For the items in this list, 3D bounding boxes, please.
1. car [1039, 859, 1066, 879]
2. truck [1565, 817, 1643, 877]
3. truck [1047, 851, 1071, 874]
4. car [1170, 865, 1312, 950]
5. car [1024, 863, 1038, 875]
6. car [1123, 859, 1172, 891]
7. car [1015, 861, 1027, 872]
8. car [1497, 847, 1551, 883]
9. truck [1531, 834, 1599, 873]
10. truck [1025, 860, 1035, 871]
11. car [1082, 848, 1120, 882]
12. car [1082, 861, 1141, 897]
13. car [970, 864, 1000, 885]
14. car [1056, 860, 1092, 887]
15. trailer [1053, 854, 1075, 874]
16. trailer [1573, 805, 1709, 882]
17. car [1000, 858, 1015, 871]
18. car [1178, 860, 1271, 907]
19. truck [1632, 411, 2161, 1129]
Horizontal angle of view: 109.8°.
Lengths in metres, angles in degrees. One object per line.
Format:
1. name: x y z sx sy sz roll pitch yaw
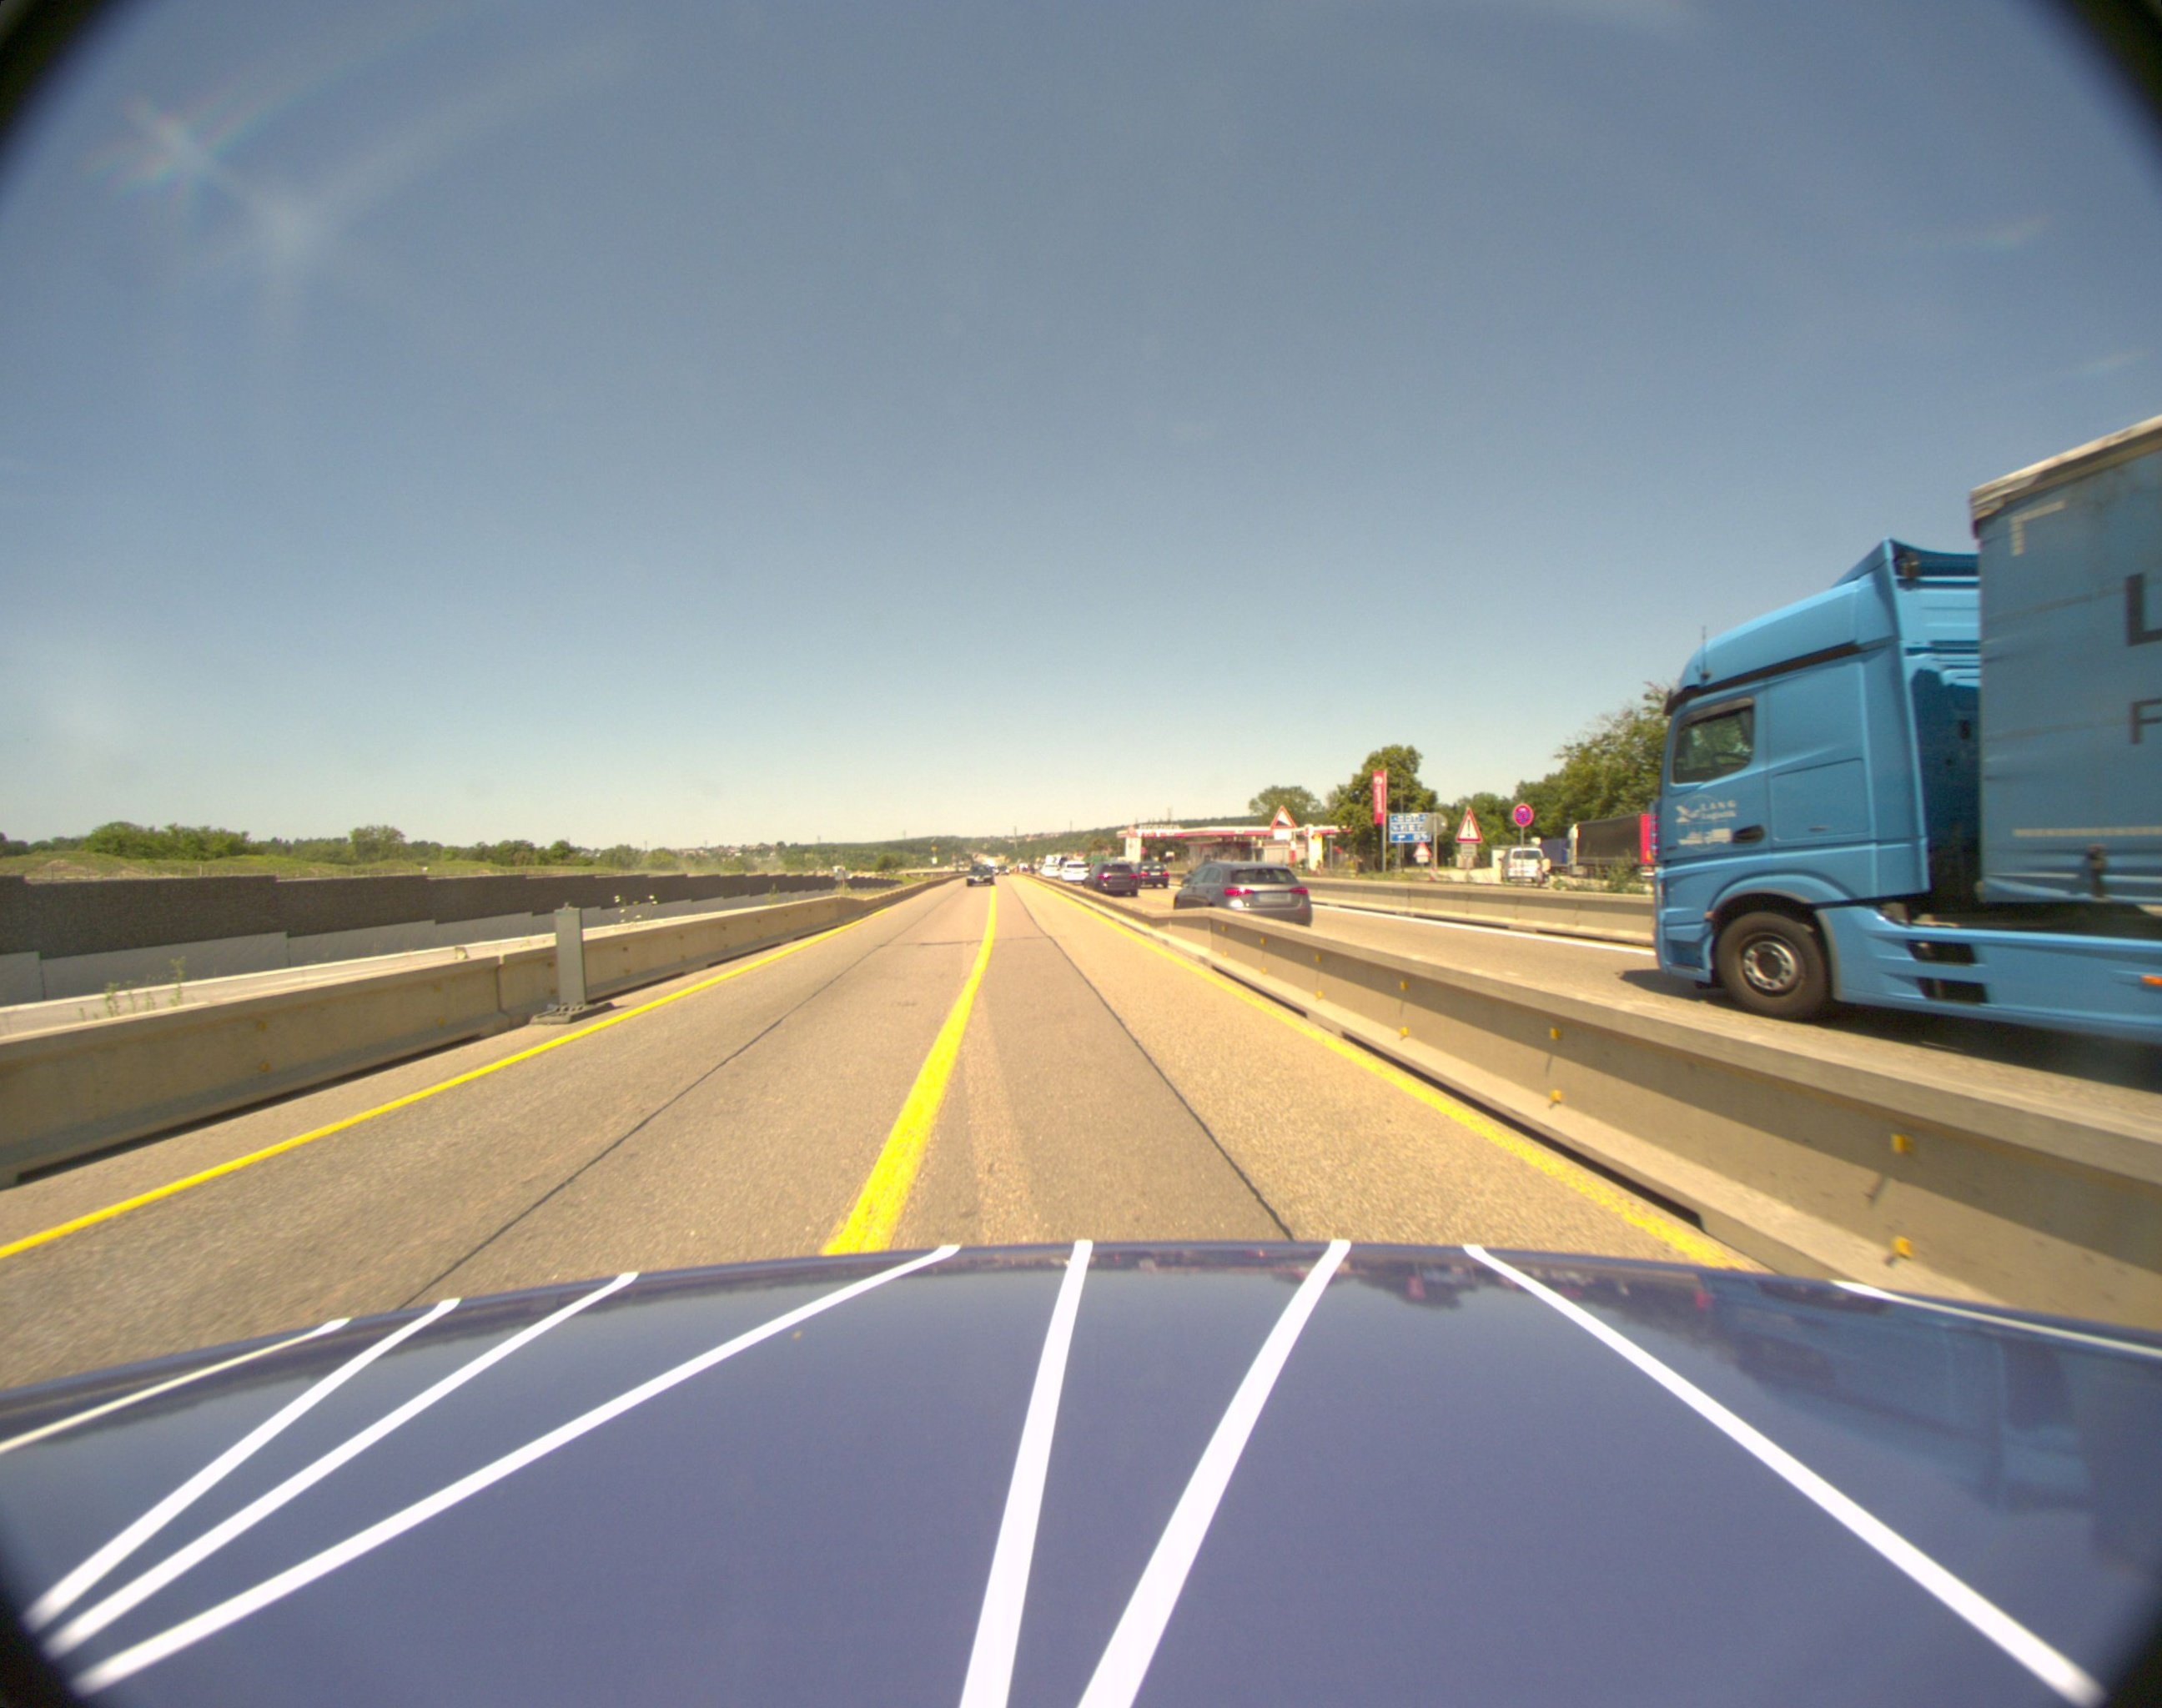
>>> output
1. car: -2.565 1.339 67.830 1.822 1.368 4.245 -11 0 -7
2. truck: 36.832 -0.422 53.768 3.153 3.961 6.357 -1 0 21
3. truck: -2.914 1.114 99.540 2.487 2.807 8.124 -1 0 -6
4. car: 3.022 0.953 15.199 1.594 1.432 4.123 0 0 -6
5. car: -7.194 2.195 109.292 1.910 1.599 3.999 -1 -1 -6
6. car: 3.498 1.083 40.386 1.772 1.588 3.998 -2 0 -7
7. car: -10.482 2.229 131.498 1.859 1.828 4.589 -1 -1 -7
8. car: 25.865 0.663 44.540 1.919 1.929 5.102 -1 -1 22
9. truck: 39.959 -0.039 63.001 2.823 3.045 7.130 -1 0 16
10. truck: -12.773 2.911 189.807 2.246 2.769 6.491 -1 -1 -5
11. car: 1.530 0.825 60.066 1.920 2.385 6.448 -5 0 -7
12. car: 1.210 0.990 32.231 1.779 1.419 4.767 0 -1 -7
13. car: -6.202 1.312 49.352 1.811 1.299 3.999 -1 -1 -5
14. car: -0.478 1.211 47.822 1.739 1.470 4.517 -5 0 -6
15. trailer: -2.135 1.279 92.706 2.188 2.300 5.611 -1 -1 -6
16. trailer: 34.601 -0.526 47.819 3.153 4.087 14.186 -1 0 21
17. car: -10.131 1.466 104.122 1.818 1.652 3.998 -5 0 -7
18. car: 4.965 0.965 26.978 2.000 1.391 4.576 0 1 -6
19. truck: 7.579 -0.490 5.093 2.923 4.104 6.135 -1 0 -6
